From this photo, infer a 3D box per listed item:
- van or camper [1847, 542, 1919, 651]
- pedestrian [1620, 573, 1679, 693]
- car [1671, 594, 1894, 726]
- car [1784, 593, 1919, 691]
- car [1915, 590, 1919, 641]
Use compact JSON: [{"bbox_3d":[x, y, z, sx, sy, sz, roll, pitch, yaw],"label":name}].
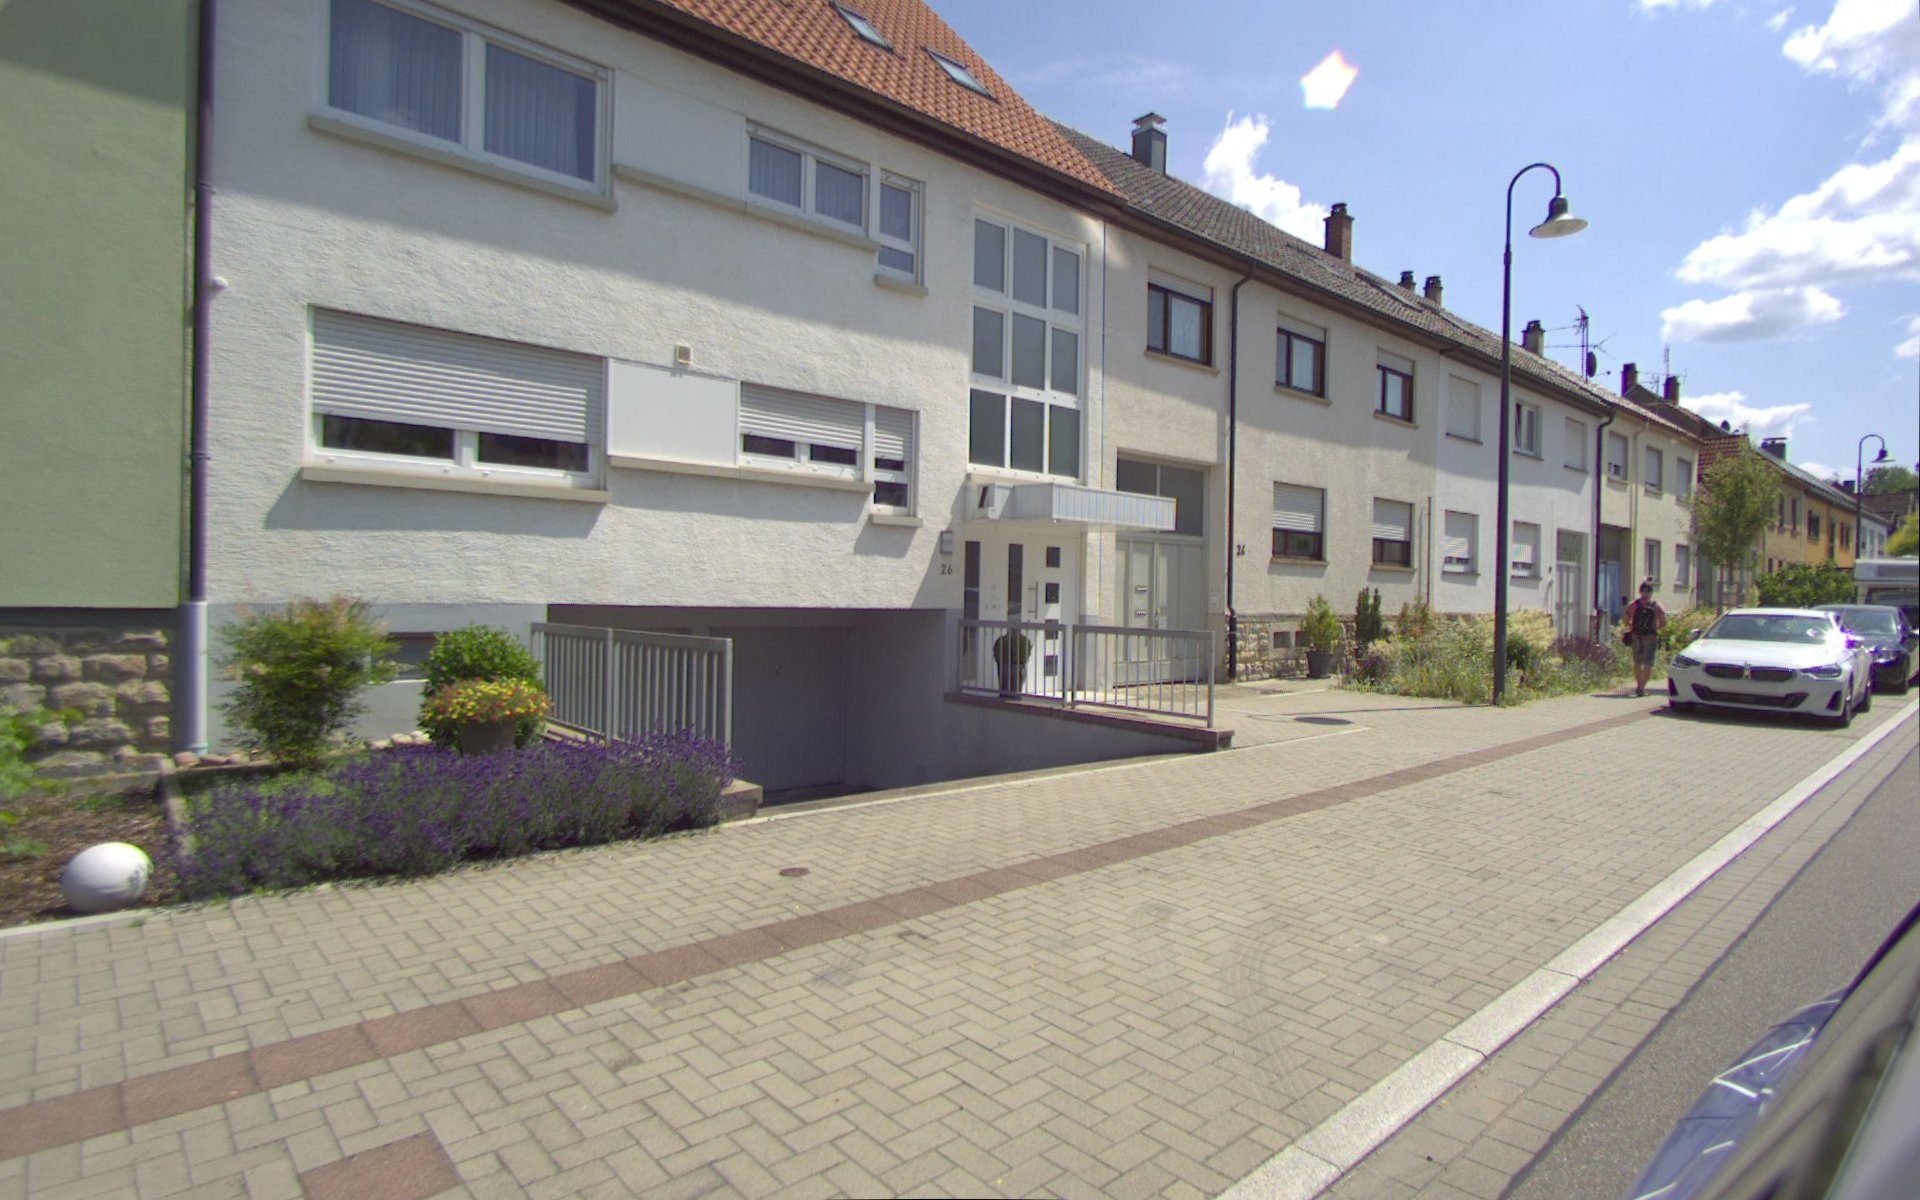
[{"bbox_3d":[27.156,-0.081,28.600,5.691,2.845,2.477,0,2,-43],"label":"van or camper"},{"bbox_3d":[10.543,0.485,15.473,0.661,1.770,0.558,0,2,-41],"label":"pedestrian"},{"bbox_3d":[11.258,0.672,13.735,4.445,1.484,1.834,0,1,-44],"label":"car"},{"bbox_3d":[16.382,0.666,18.249,3.938,1.549,1.769,0,1,-42],"label":"car"},{"bbox_3d":[34.808,0.535,35.335,4.250,1.726,1.769,0,1,-42],"label":"car"}]
